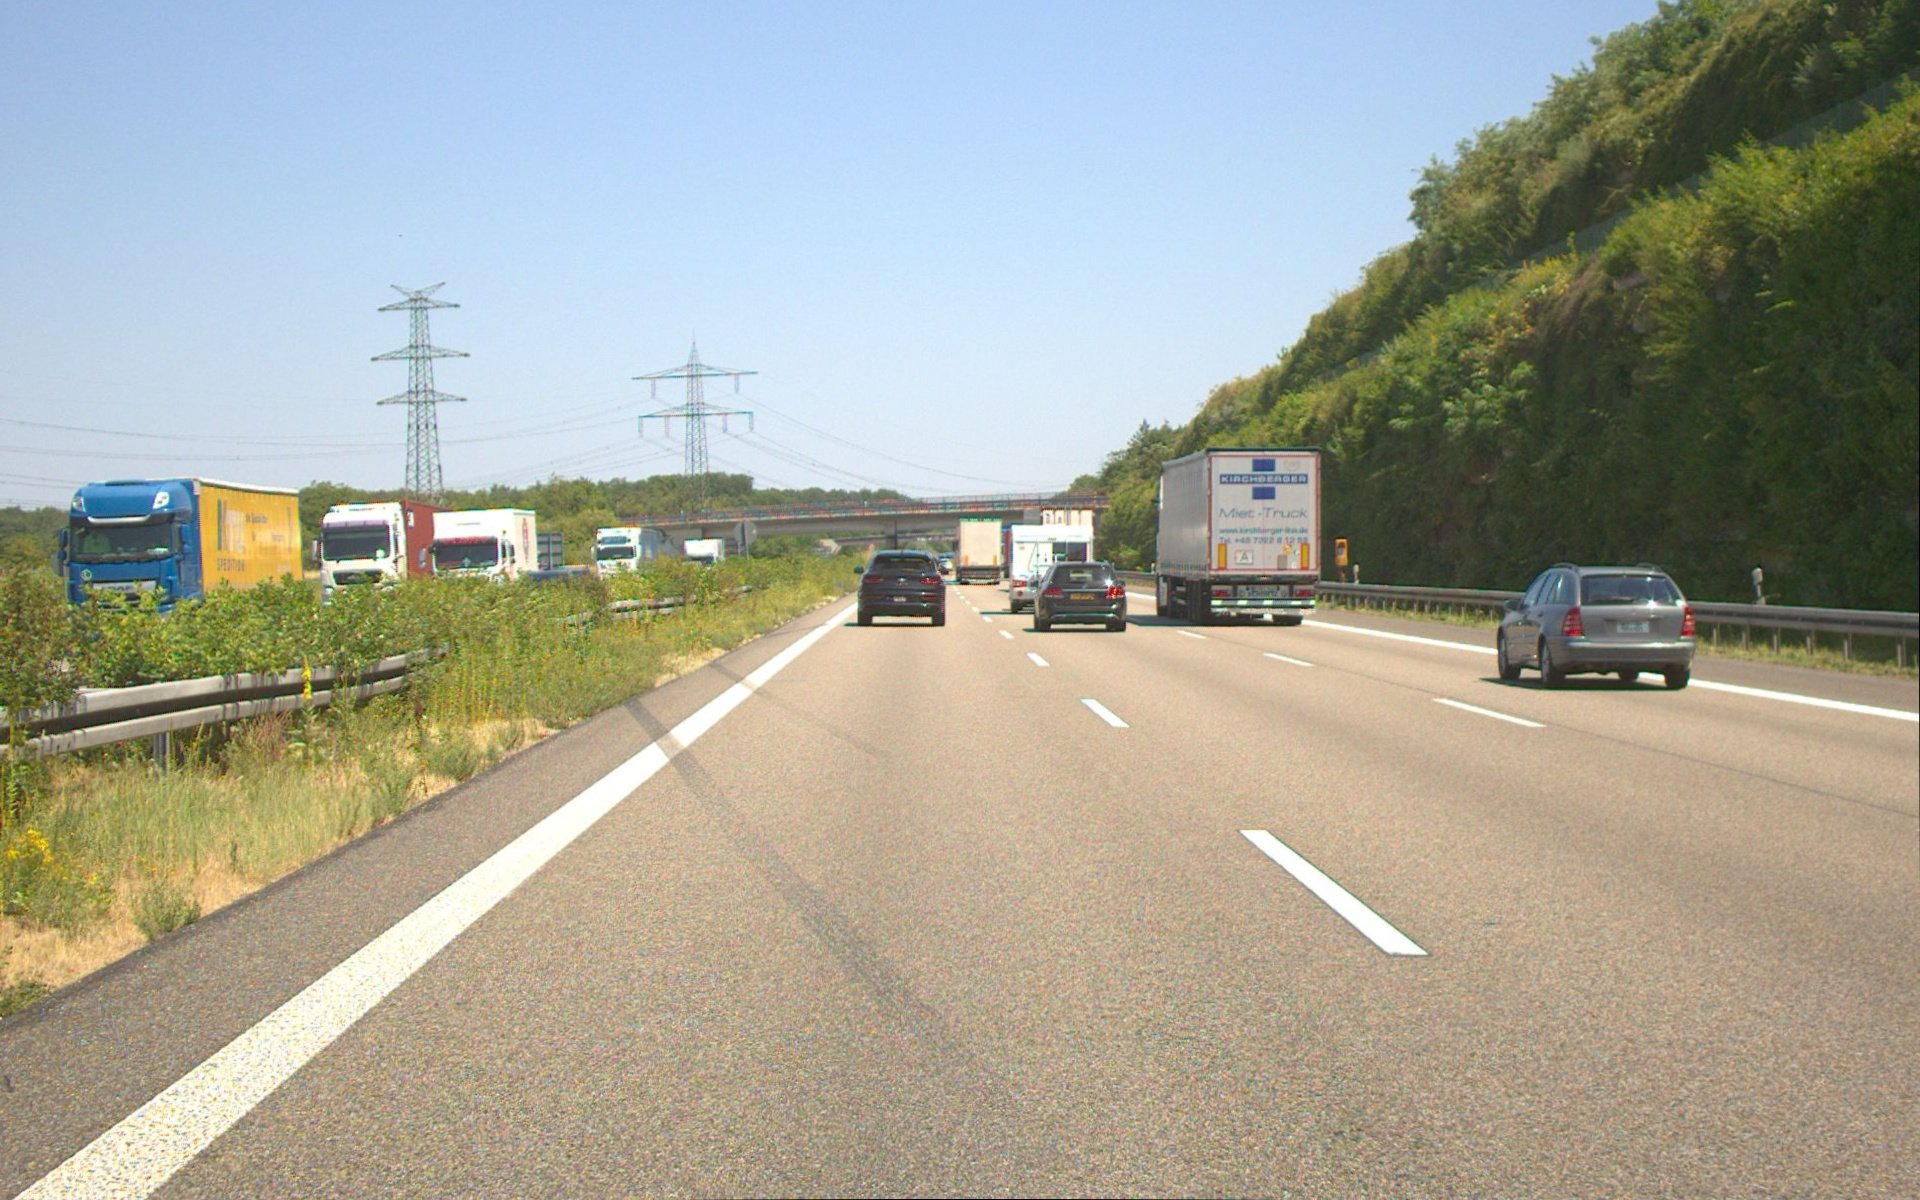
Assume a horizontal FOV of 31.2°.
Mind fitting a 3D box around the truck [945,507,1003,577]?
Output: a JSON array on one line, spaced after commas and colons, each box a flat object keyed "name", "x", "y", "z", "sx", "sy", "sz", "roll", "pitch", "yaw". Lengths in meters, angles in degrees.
[{"name": "truck", "x": 0.845, "y": -3.638, "z": 216.295, "sx": 3.409, "sy": 4.265, "sz": 10.608, "roll": -1, "pitch": 1, "yaw": -1}]

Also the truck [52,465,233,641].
[{"name": "truck", "x": -18.991, "y": -1.102, "z": 80.178, "sx": 2.863, "sy": 3.894, "sz": 5.621, "roll": -1, "pitch": 1, "yaw": -1}]

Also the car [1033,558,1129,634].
[{"name": "car", "x": 2.544, "y": -0.107, "z": 73.031, "sx": 1.830, "sy": 1.520, "sz": 4.000, "roll": -1, "pitch": 1, "yaw": 0}]

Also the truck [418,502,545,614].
[{"name": "truck", "x": -15.337, "y": -1.362, "z": 110.759, "sx": 2.936, "sy": 3.401, "sz": 9.367, "roll": -1, "pitch": 1, "yaw": -1}]

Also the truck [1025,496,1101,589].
[{"name": "truck", "x": 4.910, "y": -2.777, "z": 166.229, "sx": 3.119, "sy": 4.265, "sz": 11.934, "roll": -1, "pitch": 1, "yaw": -1}]

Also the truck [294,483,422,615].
[{"name": "truck", "x": -19.690, "y": -1.663, "z": 112.796, "sx": 3.212, "sy": 4.144, "sz": 6.440, "roll": -1, "pitch": 1, "yaw": -3}]

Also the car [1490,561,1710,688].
[{"name": "car", "x": 7.585, "y": 0.251, "z": 41.132, "sx": 1.684, "sy": 1.423, "sz": 4.454, "roll": 0, "pitch": 1, "yaw": -2}]

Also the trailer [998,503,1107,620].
[{"name": "trailer", "x": 2.618, "y": -1.129, "z": 100.282, "sx": 2.610, "sy": 3.202, "sz": 9.953, "roll": -1, "pitch": 1, "yaw": -1}]

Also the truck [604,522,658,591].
[{"name": "truck", "x": -19.693, "y": -2.624, "z": 205.922, "sx": 2.696, "sy": 4.054, "sz": 5.802, "roll": -1, "pitch": 1, "yaw": -1}]

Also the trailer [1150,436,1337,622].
[{"name": "trailer", "x": 6.740, "y": -1.699, "z": 83.930, "sx": 3.183, "sy": 4.107, "sz": 13.432, "roll": -1, "pitch": 1, "yaw": -1}]

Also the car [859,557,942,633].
[{"name": "car", "x": -1.377, "y": -0.137, "z": 78.746, "sx": 1.830, "sy": 1.665, "sz": 4.000, "roll": -1, "pitch": 1, "yaw": -1}]

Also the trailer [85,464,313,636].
[{"name": "trailer", "x": -19.115, "y": -1.269, "z": 87.423, "sx": 2.849, "sy": 3.964, "sz": 14.144, "roll": -1, "pitch": 1, "yaw": -1}]

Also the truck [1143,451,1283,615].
[{"name": "truck", "x": 6.605, "y": -1.748, "z": 90.631, "sx": 3.135, "sy": 4.127, "sz": 5.504, "roll": -1, "pitch": 1, "yaw": -1}]

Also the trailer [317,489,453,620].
[{"name": "trailer", "x": -19.834, "y": -1.572, "z": 119.268, "sx": 3.193, "sy": 4.291, "sz": 12.272, "roll": 1, "pitch": 1, "yaw": -3}]
